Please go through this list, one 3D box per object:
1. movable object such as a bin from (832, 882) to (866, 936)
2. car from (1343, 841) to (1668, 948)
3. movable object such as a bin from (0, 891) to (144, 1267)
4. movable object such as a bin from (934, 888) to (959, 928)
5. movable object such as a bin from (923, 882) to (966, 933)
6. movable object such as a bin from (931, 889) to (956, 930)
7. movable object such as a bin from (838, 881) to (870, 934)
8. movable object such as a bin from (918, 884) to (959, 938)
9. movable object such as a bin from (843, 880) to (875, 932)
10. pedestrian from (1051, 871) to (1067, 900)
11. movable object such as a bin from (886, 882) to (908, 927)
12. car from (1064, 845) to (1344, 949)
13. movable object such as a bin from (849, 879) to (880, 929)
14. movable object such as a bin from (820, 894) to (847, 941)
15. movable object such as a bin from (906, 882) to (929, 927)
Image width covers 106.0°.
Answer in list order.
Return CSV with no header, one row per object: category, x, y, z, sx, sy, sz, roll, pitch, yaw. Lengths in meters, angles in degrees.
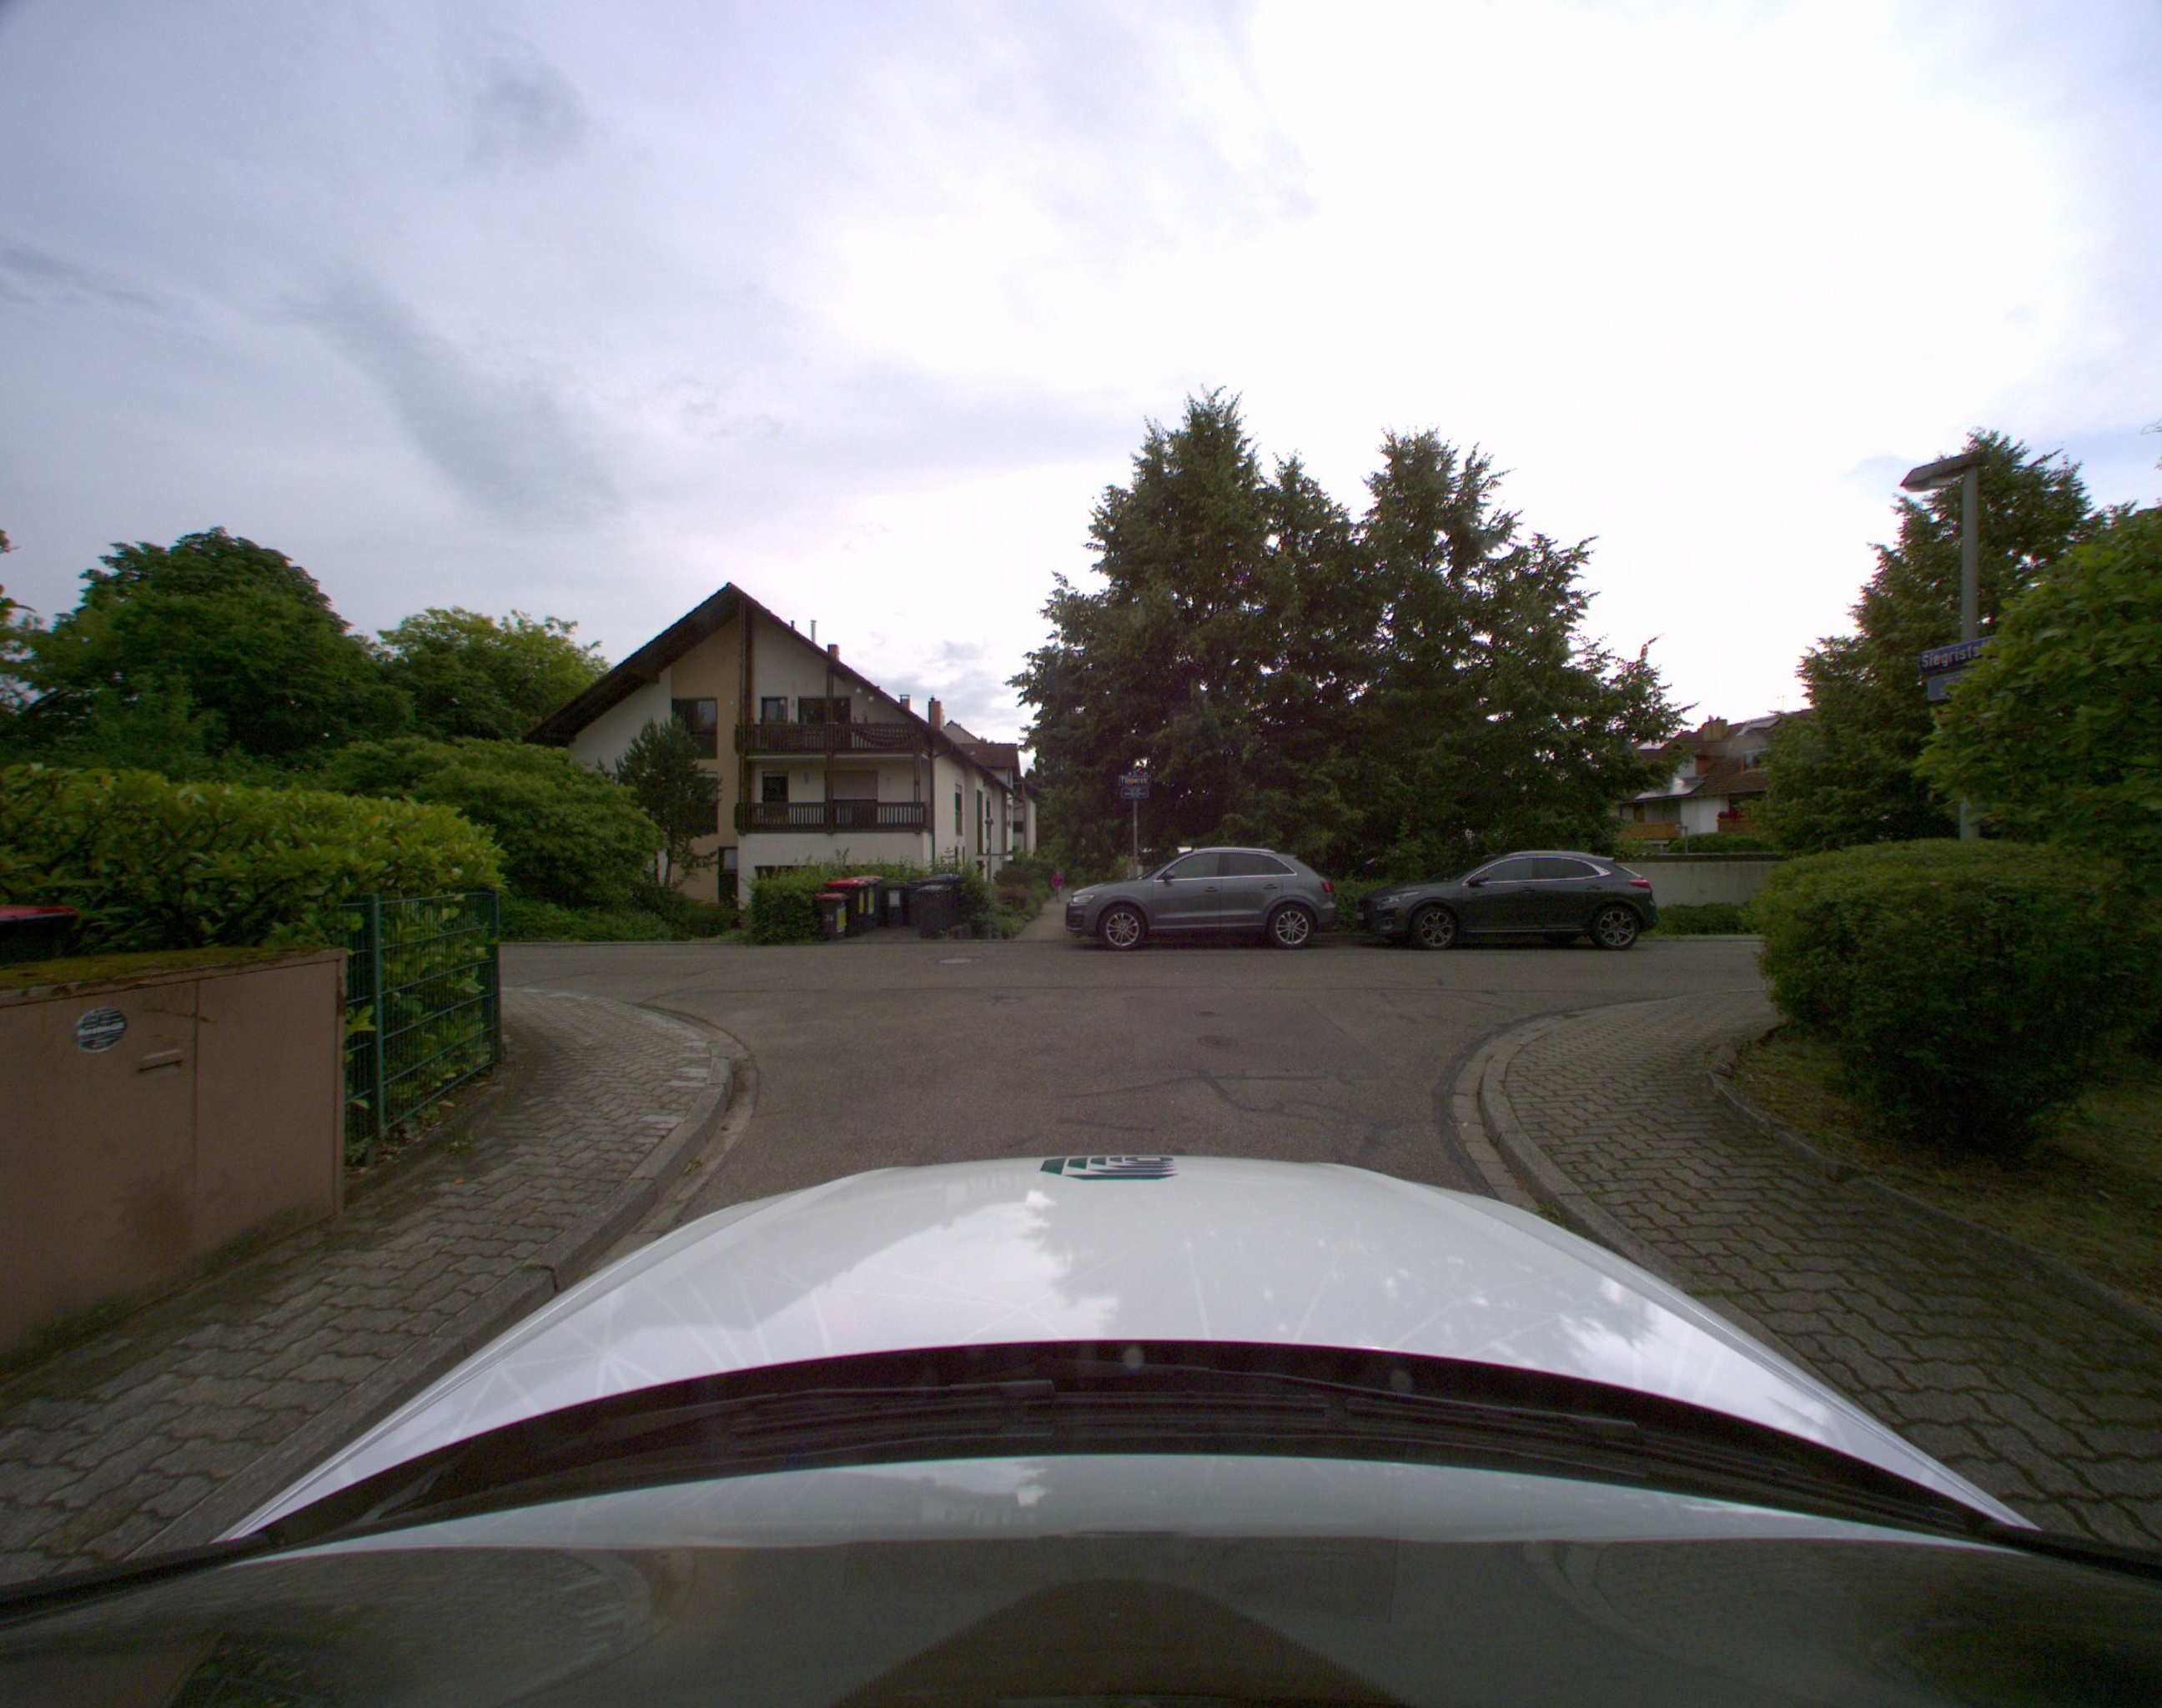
movable object such as a bin,-4.368,1.035,15.327,0.536,0.994,0.379,0,0,-2
car,6.445,0.625,12.760,4.162,1.531,1.749,-1,-2,4
movable object such as a bin,-3.740,0.740,2.757,0.504,1.187,0.515,-2,0,-1
movable object such as a bin,-2.778,1.114,16.824,0.458,0.797,0.379,0,0,-2
movable object such as a bin,-2.653,1.040,15.867,0.731,0.953,0.584,0,0,0
movable object such as a bin,-2.766,1.115,16.418,0.458,0.797,0.379,0,0,-2
movable object such as a bin,-4.374,1.033,15.703,0.536,0.994,0.337,0,0,-2
movable object such as a bin,-2.639,1.044,15.152,0.636,0.953,0.723,0,0,-1
movable object such as a bin,-4.379,1.015,16.060,0.536,0.994,0.337,0,0,-2
pedestrian,-1.195,1.685,43.574,0.813,1.517,0.438,-1,-1,-2
movable object such as a bin,-3.766,1.030,16.685,0.385,0.901,0.379,0,0,-2
car,1.861,0.673,13.166,4.224,1.531,1.747,0,-2,-1
movable object such as a bin,-4.383,1.005,16.516,0.536,0.994,0.337,0,0,-2
movable object such as a bin,-4.530,1.153,14.904,0.385,0.836,0.379,0,0,-2
movable object such as a bin,-3.349,1.026,16.696,0.385,0.889,0.379,0,0,-2
